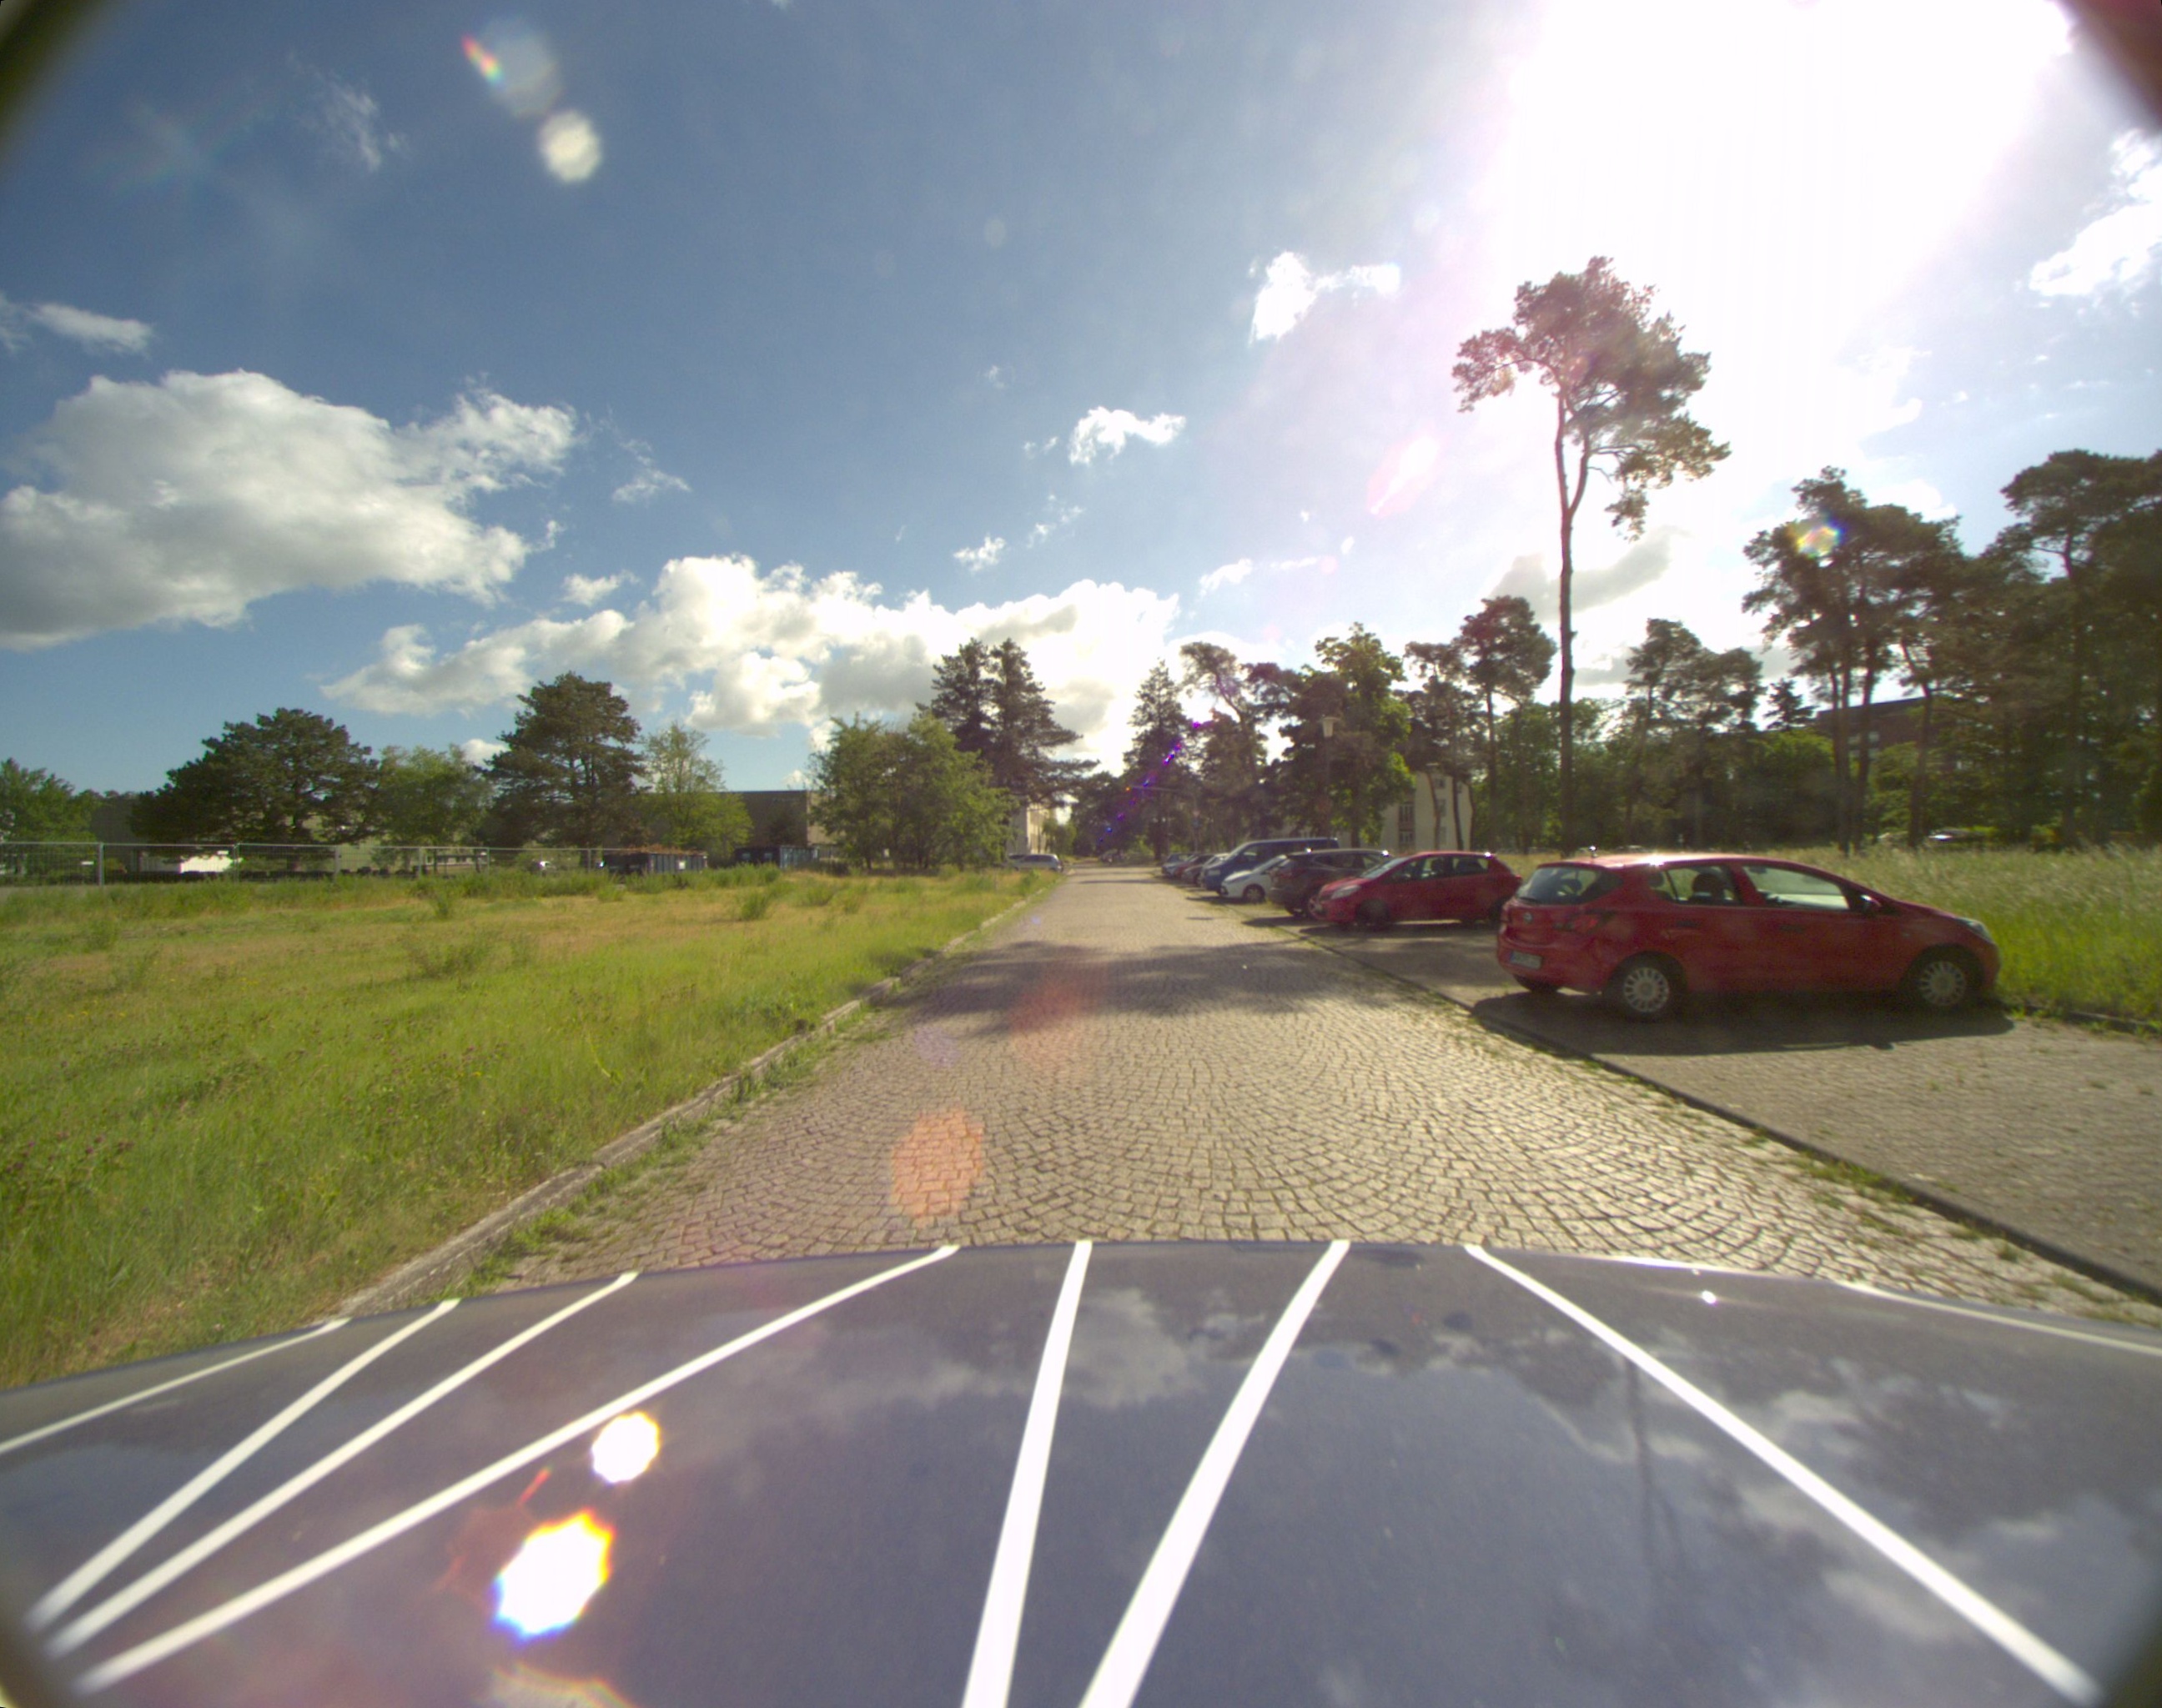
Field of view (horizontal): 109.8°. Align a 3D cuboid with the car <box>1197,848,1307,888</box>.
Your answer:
[{"bbox_3d":[7.117,0.564,31.918,4.206,1.466,1.824,-2,1,2],"label":"car"}]

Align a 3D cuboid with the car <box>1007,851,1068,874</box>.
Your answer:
[{"bbox_3d":[-2.974,0.584,52.519,4.014,1.433,1.844,2,1,0],"label":"car"}]

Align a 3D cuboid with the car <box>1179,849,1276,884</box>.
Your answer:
[{"bbox_3d":[6.662,0.547,34.815,4.086,1.417,1.923,-2,1,3],"label":"car"}]

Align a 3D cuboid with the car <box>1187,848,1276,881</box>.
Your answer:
[{"bbox_3d":[7.391,0.502,37.680,4.086,1.444,1.821,-2,2,3],"label":"car"}]

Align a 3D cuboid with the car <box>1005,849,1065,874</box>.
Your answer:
[{"bbox_3d":[-2.968,0.456,49.744,3.750,1.468,1.751,2,1,0],"label":"car"}]

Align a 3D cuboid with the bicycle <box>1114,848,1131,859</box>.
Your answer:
[{"bbox_3d":[5.414,-0.085,99.206,2.113,1.276,0.621,-6,1,-1],"label":"bicycle"}]

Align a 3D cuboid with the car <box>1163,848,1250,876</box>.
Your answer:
[{"bbox_3d":[7.382,0.456,45.008,4.876,1.413,1.938,-2,2,2],"label":"car"}]

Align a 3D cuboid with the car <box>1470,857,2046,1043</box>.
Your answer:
[{"bbox_3d":[6.223,0.821,7.376,3.933,1.452,1.842,-2,0,0],"label":"car"}]

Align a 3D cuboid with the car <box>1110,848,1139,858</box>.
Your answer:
[{"bbox_3d":[6.510,-0.166,114.038,4.044,1.514,1.817,0,1,-6],"label":"car"}]

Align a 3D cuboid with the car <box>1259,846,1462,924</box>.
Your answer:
[{"bbox_3d":[6.381,0.685,17.702,3.963,1.558,1.974,-2,0,0],"label":"car"}]

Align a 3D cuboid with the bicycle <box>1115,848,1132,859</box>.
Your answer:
[{"bbox_3d":[5.702,-0.086,101.451,2.114,1.276,0.621,-3,1,-5],"label":"bicycle"}]

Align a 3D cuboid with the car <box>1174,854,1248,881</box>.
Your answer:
[{"bbox_3d":[6.865,0.687,40.372,3.639,1.227,1.760,-2,2,3],"label":"car"}]

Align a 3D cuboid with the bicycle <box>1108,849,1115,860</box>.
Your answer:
[{"bbox_3d":[3.886,0.023,95.904,0.621,1.342,2.114,-3,1,-3],"label":"bicycle"}]

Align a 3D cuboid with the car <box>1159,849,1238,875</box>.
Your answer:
[{"bbox_3d":[7.325,0.473,47.732,4.593,1.443,1.984,-2,1,-2],"label":"car"}]

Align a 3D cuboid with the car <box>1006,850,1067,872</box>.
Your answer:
[{"bbox_3d":[-3.342,0.513,57.738,4.524,1.456,1.838,1,1,-1],"label":"car"}]

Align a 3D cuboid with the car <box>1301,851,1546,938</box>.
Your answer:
[{"bbox_3d":[6.595,0.745,14.964,3.933,1.440,1.866,-2,0,0],"label":"car"}]

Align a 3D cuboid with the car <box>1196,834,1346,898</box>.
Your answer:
[{"bbox_3d":[6.563,0.392,26.608,4.729,1.957,2.005,-2,1,2],"label":"car"}]

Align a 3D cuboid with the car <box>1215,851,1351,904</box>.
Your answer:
[{"bbox_3d":[6.322,0.706,24.042,3.826,1.432,1.682,-2,1,-1],"label":"car"}]

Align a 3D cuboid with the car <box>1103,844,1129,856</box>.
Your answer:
[{"bbox_3d":[6.024,-0.689,131.403,4.226,1.903,1.816,0,1,-8],"label":"car"}]

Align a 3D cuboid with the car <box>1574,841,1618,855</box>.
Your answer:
[{"bbox_3d":[61.696,-0.720,91.026,4.104,1.572,1.720,0,1,3],"label":"car"}]

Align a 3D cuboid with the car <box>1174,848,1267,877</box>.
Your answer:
[{"bbox_3d":[7.748,0.482,42.653,4.876,1.413,1.938,-2,1,2],"label":"car"}]

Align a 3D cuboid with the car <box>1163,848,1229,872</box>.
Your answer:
[{"bbox_3d":[7.561,0.386,50.344,4.037,1.474,1.949,-2,0,0],"label":"car"}]
